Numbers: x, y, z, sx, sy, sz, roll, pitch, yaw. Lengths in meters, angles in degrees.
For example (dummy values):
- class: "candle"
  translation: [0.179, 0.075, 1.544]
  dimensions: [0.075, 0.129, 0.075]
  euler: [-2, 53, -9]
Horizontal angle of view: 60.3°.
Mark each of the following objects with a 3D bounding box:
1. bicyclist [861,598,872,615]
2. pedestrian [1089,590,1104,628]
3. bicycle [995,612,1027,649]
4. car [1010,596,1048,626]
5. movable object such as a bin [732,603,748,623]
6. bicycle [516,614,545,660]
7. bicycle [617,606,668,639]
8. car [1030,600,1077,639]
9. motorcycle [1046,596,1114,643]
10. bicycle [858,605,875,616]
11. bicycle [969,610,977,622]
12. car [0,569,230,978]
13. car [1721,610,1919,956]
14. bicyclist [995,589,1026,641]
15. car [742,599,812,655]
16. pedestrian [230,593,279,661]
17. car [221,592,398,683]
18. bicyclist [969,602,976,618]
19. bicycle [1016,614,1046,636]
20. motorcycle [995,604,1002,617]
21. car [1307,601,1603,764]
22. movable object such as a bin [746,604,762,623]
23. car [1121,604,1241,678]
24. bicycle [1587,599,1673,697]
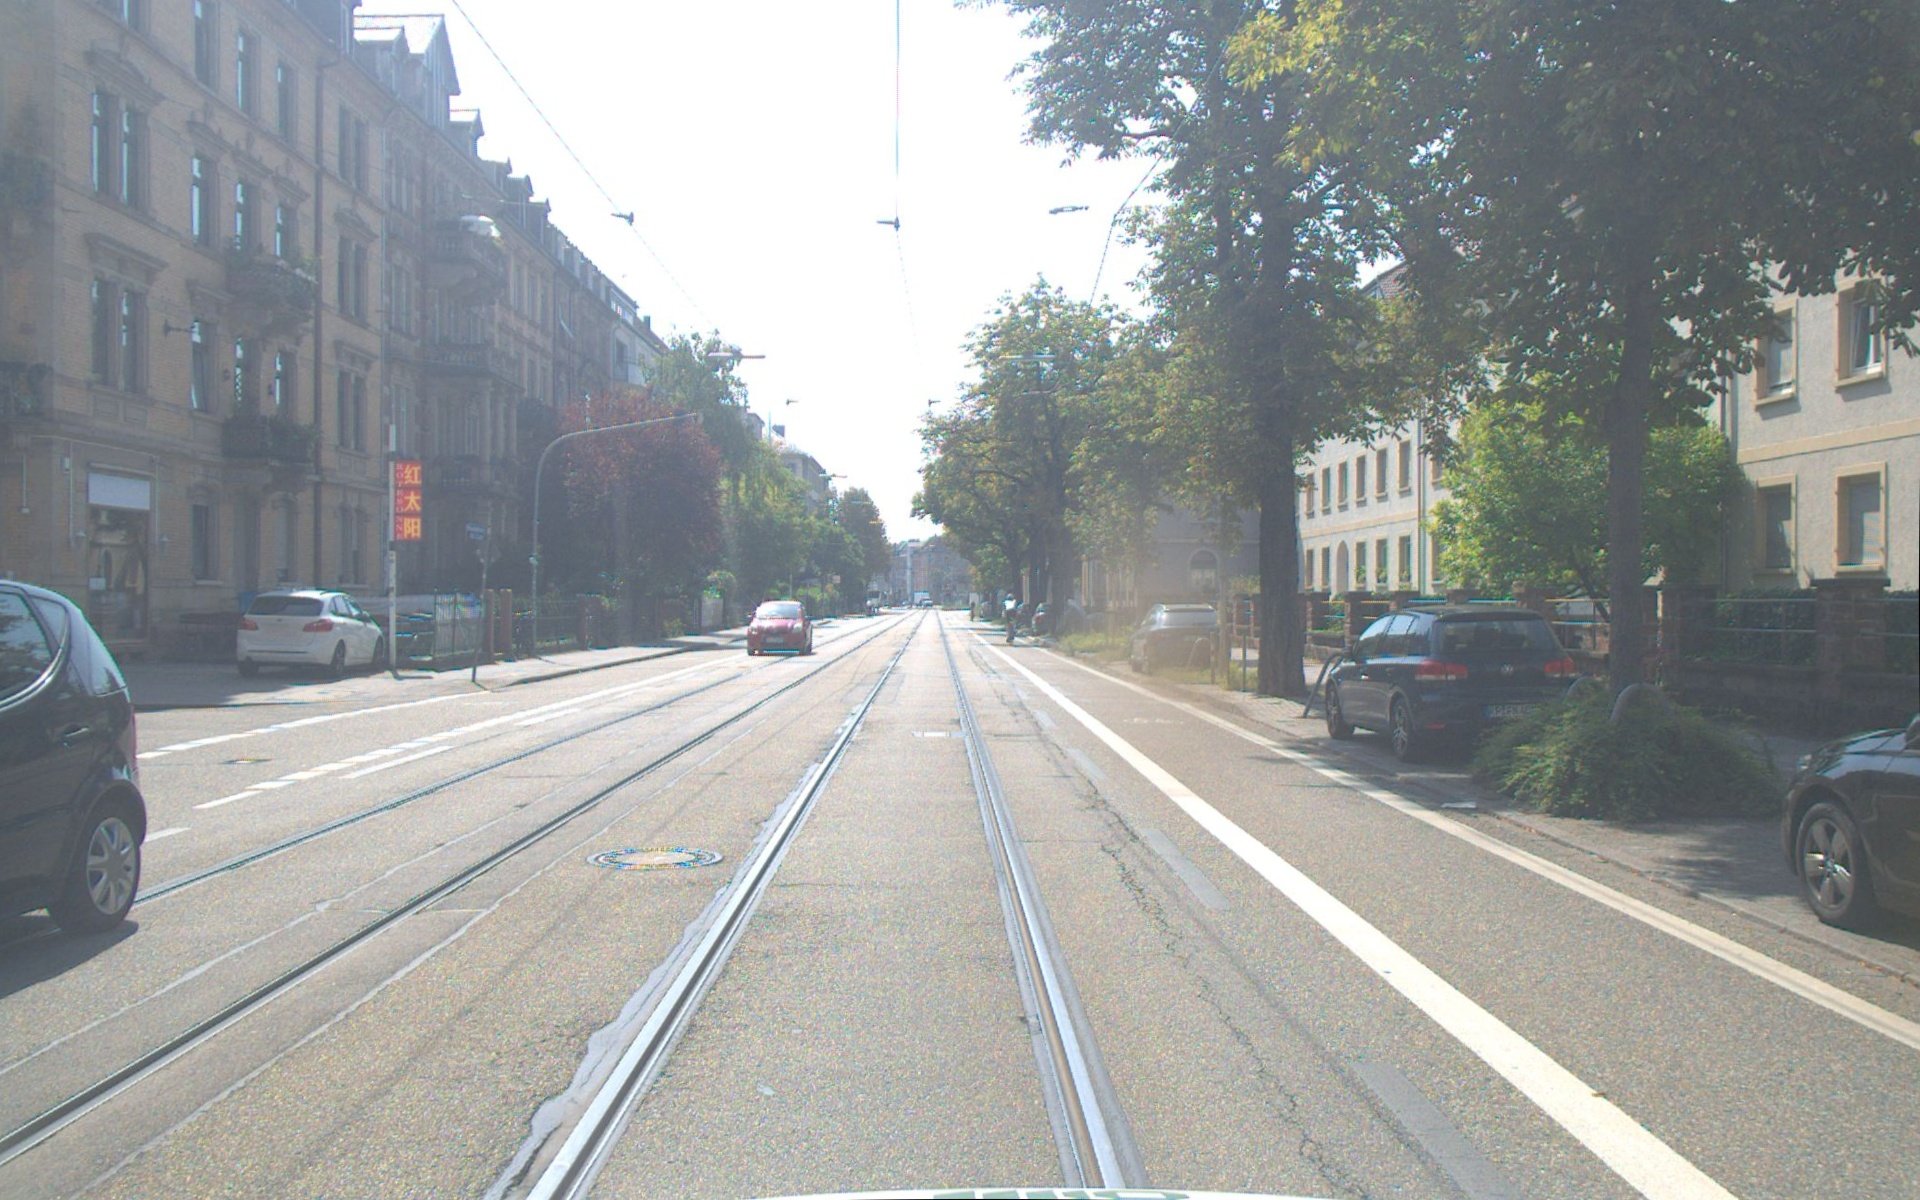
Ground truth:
- class: "bicyclist"
  translation: [-8.159, 0.560, 144.025]
  dimensions: [0.743, 1.416, 0.779]
  euler: [0, -1, 19]
- class: "pedestrian"
  translation: [7.062, 0.475, 85.525]
  dimensions: [0.692, 1.925, 0.714]
  euler: [0, -1, 0]
- class: "bicycle"
  translation: [1.849, 1.087, 60.253]
  dimensions: [1.124, 1.291, 2.712]
  euler: [0, 0, 1]
- class: "car"
  translation: [3.803, 0.597, 91.799]
  dimensions: [1.803, 1.559, 4.778]
  euler: [-1, 0, -1]
- class: "movable object such as a bin"
  translation: [-12.759, 0.759, 95.790]
  dimensions: [0.770, 1.094, 0.803]
  euler: [1, -1, 2]
- class: "bicycle"
  translation: [-10.666, 0.906, 41.134]
  dimensions: [0.382, 1.118, 1.567]
  euler: [0, 0, -3]
- class: "bicycle"
  translation: [-12.163, 0.852, 63.402]
  dimensions: [1.775, 1.202, 0.716]
  euler: [1, -1, 1]
- class: "car"
  translation: [4.172, 0.855, 74.348]
  dimensions: [1.803, 1.559, 4.114]
  euler: [0, 1, -1]
- class: "motorcycle"
  translation: [4.253, 0.695, 58.736]
  dimensions: [2.303, 1.567, 0.963]
  euler: [-3, -3, 41]
- class: "bicycle"
  translation: [-8.140, 0.929, 144.074]
  dimensions: [0.743, 1.008, 2.299]
  euler: [0, -1, 18]
- class: "bicycle"
  translation: [0.981, 1.226, 128.227]
  dimensions: [0.576, 0.955, 2.172]
  euler: [0, -1, 1]
- class: "car"
  translation: [-4.582, 0.672, 6.356]
  dimensions: [1.790, 1.567, 4.000]
  euler: [0, 0, -1]
- class: "car"
  translation: [5.173, 0.803, 7.006]
  dimensions: [1.720, 1.503, 4.456]
  euler: [-3, -1, -1]
- class: "bicyclist"
  translation: [1.836, 0.541, 60.142]
  dimensions: [1.102, 1.869, 0.955]
  euler: [0, -1, 0]
- class: "car"
  translation: [-5.279, 0.752, 48.142]
  dimensions: [1.697, 1.516, 3.999]
  euler: [0, 0, -1]
- class: "pedestrian"
  translation: [-16.298, 0.621, 38.237]
  dimensions: [0.851, 1.537, 0.884]
  euler: [0, 0, -9]
- class: "car"
  translation: [-12.364, 0.672, 31.749]
  dimensions: [1.954, 1.622, 4.355]
  euler: [0, 0, -4]
- class: "bicyclist"
  translation: [0.979, 0.781, 128.166]
  dimensions: [0.567, 1.301, 0.471]
  euler: [0, -1, 1]
- class: "bicycle"
  translation: [3.753, 1.310, 87.677]
  dimensions: [1.571, 1.123, 0.399]
  euler: [0, -1, 5]
- class: "motorcycle"
  translation: [3.325, 0.918, 143.920]
  dimensions: [0.537, 1.086, 2.330]
  euler: [0, -1, -1]
- class: "car"
  translation: [5.050, 0.766, 17.519]
  dimensions: [1.720, 1.503, 4.385]
  euler: [0, 0, -2]
- class: "movable object such as a bin"
  translation: [-11.956, 0.778, 95.935]
  dimensions: [0.770, 1.094, 0.803]
  euler: [1, -1, 2]
- class: "car"
  translation: [4.716, 0.833, 35.883]
  dimensions: [1.854, 1.503, 4.839]
  euler: [0, 0, -1]
- class: "bicycle"
  translation: [9.625, 0.664, 23.829]
  dimensions: [0.446, 1.357, 1.891]
  euler: [0, 0, -1]
